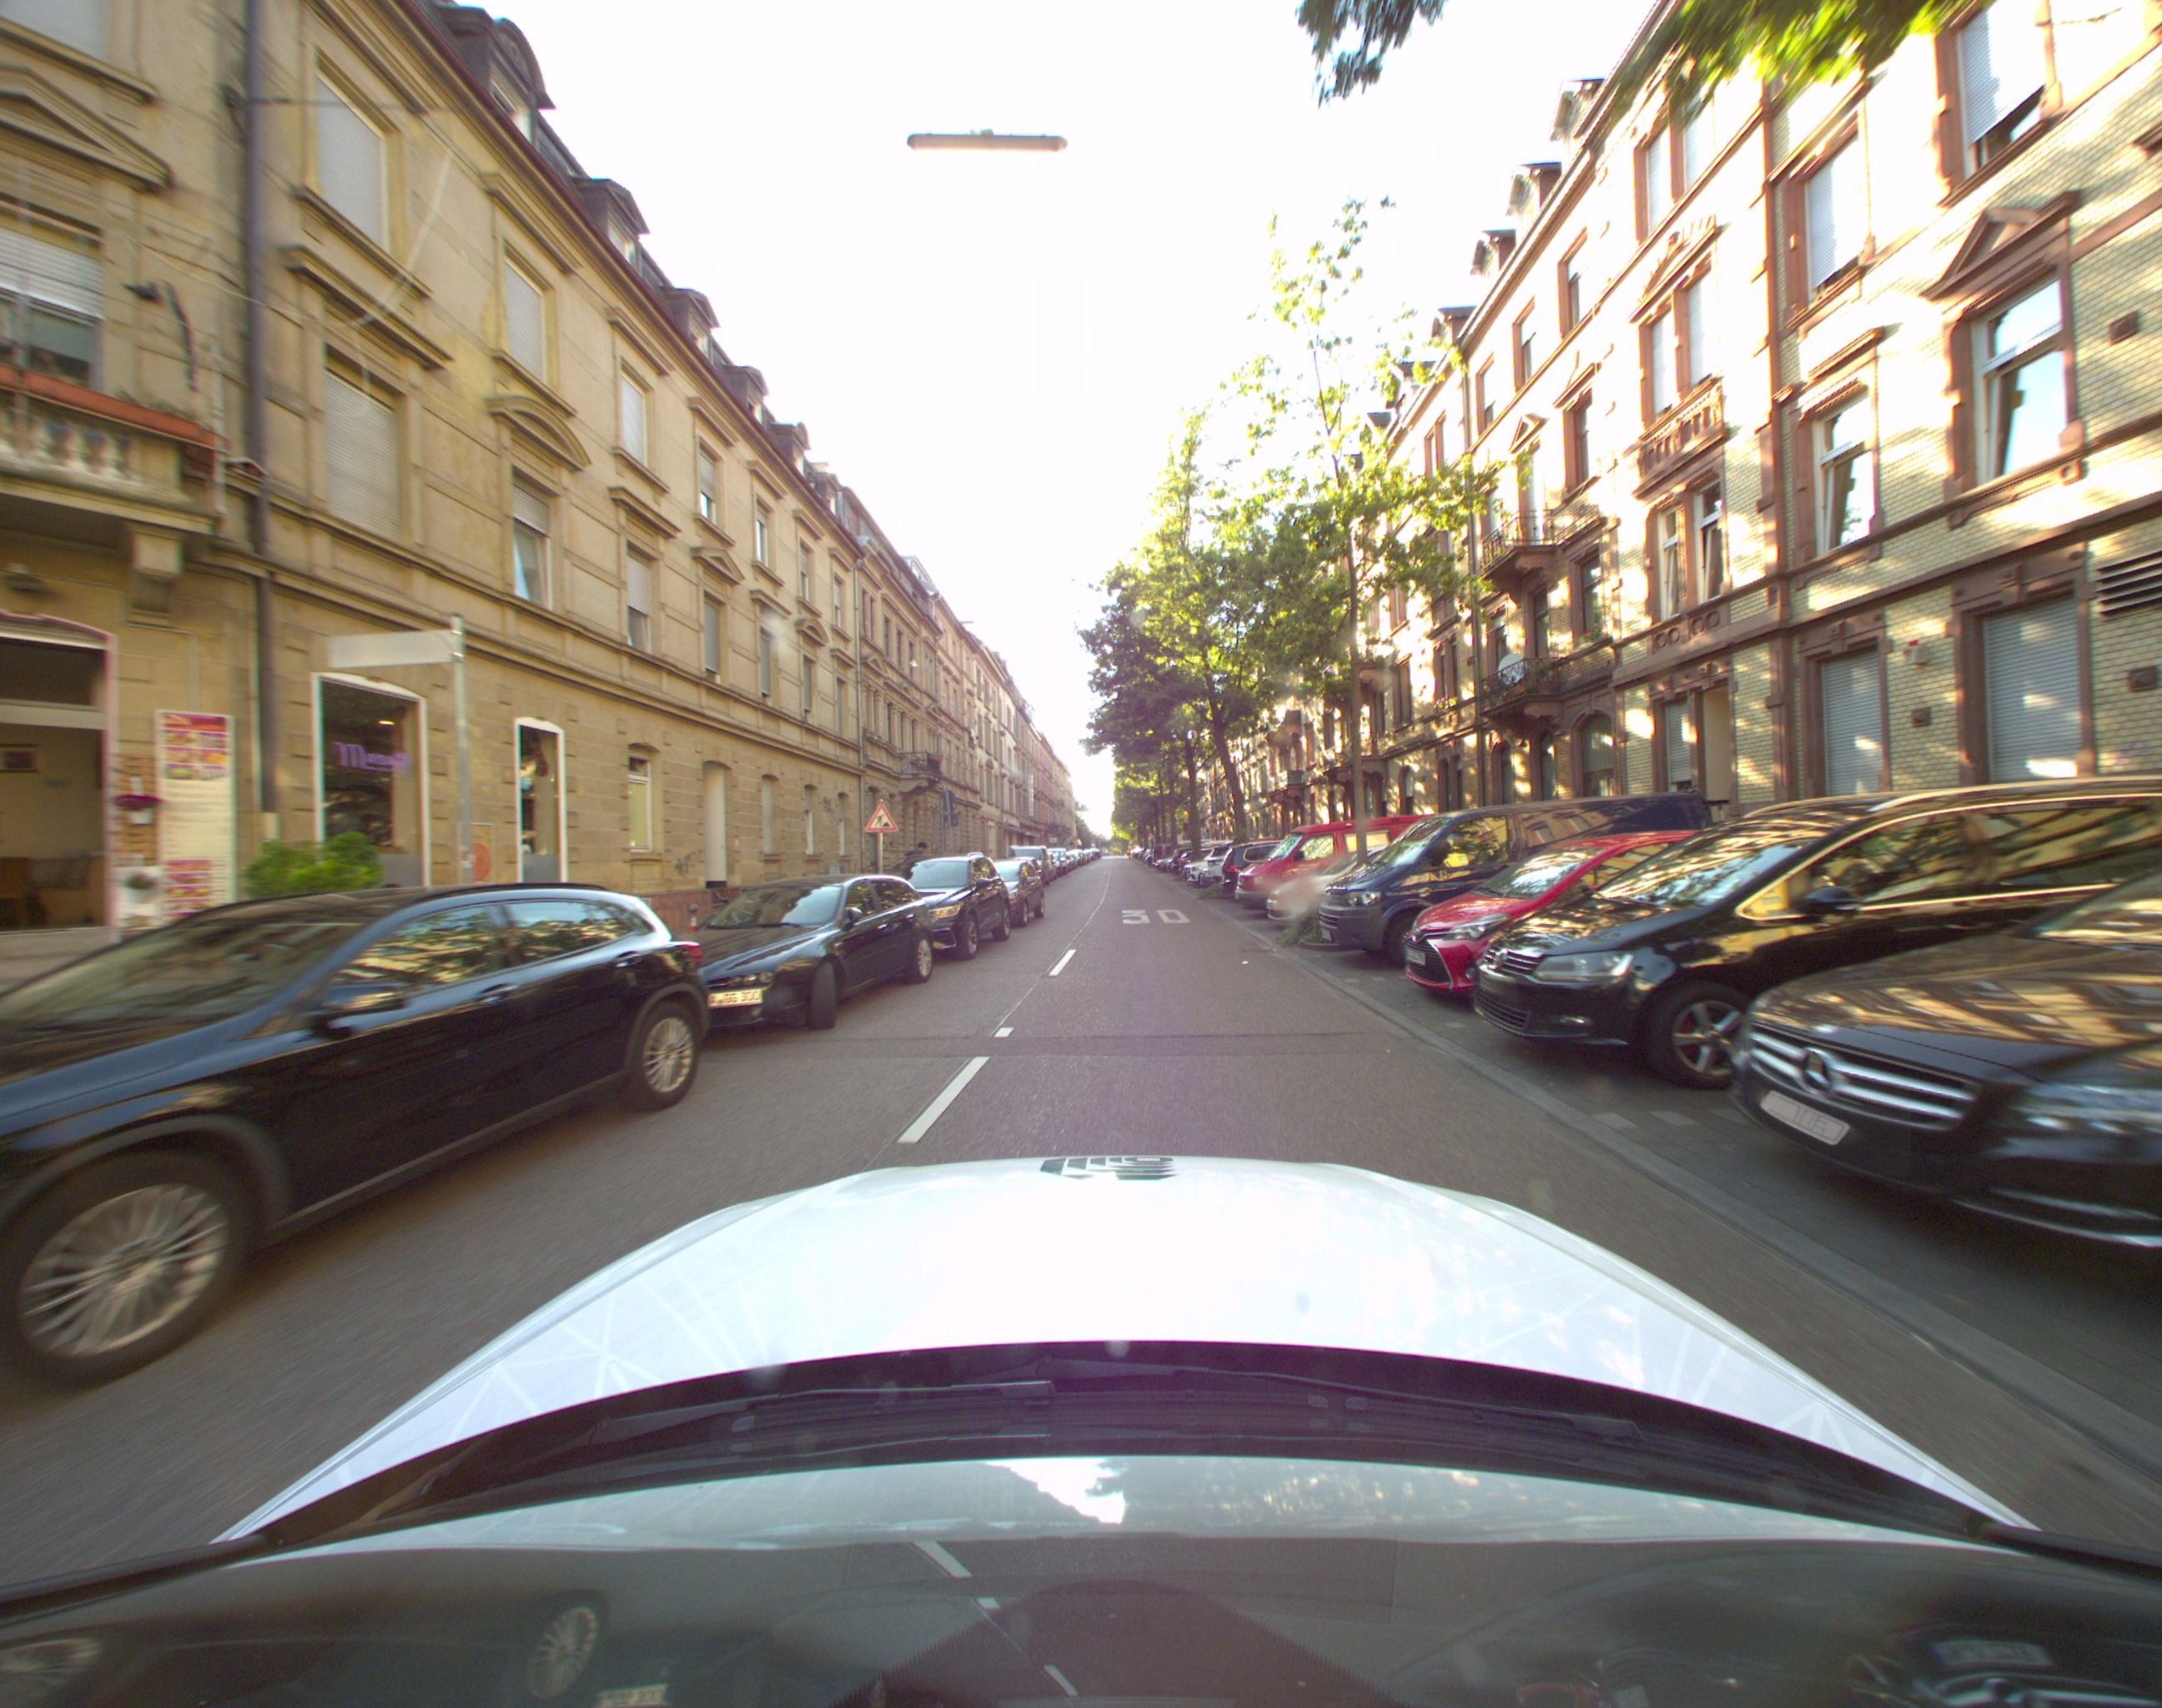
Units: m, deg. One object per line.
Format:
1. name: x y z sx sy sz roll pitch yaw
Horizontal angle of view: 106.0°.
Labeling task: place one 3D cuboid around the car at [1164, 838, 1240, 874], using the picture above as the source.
1. car: 7.137 0.118 48.413 4.206 1.776 1.835 -4 0 1

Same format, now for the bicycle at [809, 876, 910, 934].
1. bicycle: -4.443 1.018 16.391 1.860 1.128 0.529 -1 -1 2

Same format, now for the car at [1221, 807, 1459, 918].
1. car: 5.709 0.188 18.350 4.661 2.033 1.878 -4 -1 -1

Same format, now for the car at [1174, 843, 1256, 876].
1. car: 7.060 0.283 43.176 3.995 1.467 1.734 -4 -1 2

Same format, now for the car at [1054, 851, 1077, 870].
1. car: -1.267 0.508 68.845 1.752 1.473 4.060 -3 0 1

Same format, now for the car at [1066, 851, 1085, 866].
1. car: -0.544 0.471 84.726 1.752 1.473 4.060 -3 0 1

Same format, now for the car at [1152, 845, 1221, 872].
1. car: 6.893 0.288 53.507 4.211 1.403 1.833 -4 0 -3

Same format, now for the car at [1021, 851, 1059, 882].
1. car: -2.288 0.672 46.304 1.746 1.608 4.387 0 0 3

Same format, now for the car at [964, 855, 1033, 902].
1. car: -2.975 0.867 30.240 1.750 1.501 4.065 -3 0 5

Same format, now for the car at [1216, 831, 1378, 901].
1. car: 6.097 0.336 23.373 4.166 1.627 1.840 -4 -1 5

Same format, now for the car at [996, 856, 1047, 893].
1. car: -2.495 0.825 34.797 1.585 1.475 3.704 0 0 4

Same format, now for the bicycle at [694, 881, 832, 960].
1. bicycle: -4.748 0.985 12.187 1.858 1.128 0.529 -1 -1 4

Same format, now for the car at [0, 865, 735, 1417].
1. car: -3.699 0.873 3.958 1.749 1.487 4.148 -3 0 8

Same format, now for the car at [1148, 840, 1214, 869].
1. car: 7.253 0.048 59.140 4.232 1.794 1.824 -4 0 -18

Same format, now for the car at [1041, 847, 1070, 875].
1. car: -1.776 0.438 57.811 1.752 1.842 4.531 -3 0 1

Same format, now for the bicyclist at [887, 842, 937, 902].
1. bicyclist: -5.269 0.551 25.438 0.988 1.789 1.212 -3 1 14

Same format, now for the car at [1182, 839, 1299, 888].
1. car: 6.390 0.352 33.052 4.328 1.556 1.851 -5 1 1

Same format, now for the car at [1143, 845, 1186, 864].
1. car: 8.013 0.054 78.065 3.839 1.479 1.717 -4 0 -1

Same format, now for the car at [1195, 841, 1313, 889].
1. car: 6.443 0.400 30.675 3.995 1.434 1.795 -5 -1 1

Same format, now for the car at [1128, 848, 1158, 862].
1. car: 8.392 0.162 110.095 3.835 1.573 1.719 -4 0 2

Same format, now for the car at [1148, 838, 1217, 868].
1. car: 7.828 -0.093 62.862 5.037 1.925 1.836 -4 0 2

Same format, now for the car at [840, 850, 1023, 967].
1. car: -2.339 0.787 14.077 1.749 1.600 4.559 -3 0 7

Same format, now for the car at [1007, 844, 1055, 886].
1. car: -2.432 0.493 40.552 1.825 1.943 5.263 0 0 2

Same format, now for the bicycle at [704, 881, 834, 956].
1. bicycle: -4.912 1.008 12.869 1.858 1.128 0.529 -1 -1 4

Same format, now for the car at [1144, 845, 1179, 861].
1. car: 9.664 -0.135 97.733 3.845 1.573 1.714 -4 0 -6

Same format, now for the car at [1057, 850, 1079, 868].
1. car: -1.150 0.443 73.716 1.752 1.473 4.060 -3 0 1

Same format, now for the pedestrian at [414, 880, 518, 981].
1. pedestrian: -7.952 0.974 10.558 0.723 1.214 0.757 -2 0 0

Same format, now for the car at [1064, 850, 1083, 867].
1. car: -0.723 0.428 79.962 1.752 1.473 4.060 -3 0 1

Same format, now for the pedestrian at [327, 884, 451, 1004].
1. pedestrian: -7.890 1.000 9.316 0.723 1.259 0.757 -2 0 0

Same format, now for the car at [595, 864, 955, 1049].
1. car: -2.977 0.909 9.183 1.748 1.451 4.560 -3 0 8

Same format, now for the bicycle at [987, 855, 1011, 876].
1. bicycle: -5.577 0.732 55.641 1.037 1.318 4.002 -1 0 2

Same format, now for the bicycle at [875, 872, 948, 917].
1. bicycle: -5.238 1.219 25.444 0.988 1.158 2.935 -3 1 14

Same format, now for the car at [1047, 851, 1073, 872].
1. car: -1.563 0.553 62.747 1.752 1.473 4.060 -3 0 1

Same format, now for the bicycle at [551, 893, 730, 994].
1. bicycle: -5.169 1.041 9.598 1.858 1.128 0.529 -1 -1 4

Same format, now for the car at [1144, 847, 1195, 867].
1. car: 7.104 0.257 65.748 3.839 1.293 1.717 -4 0 -1

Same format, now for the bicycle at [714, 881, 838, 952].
1. bicycle: -5.050 1.033 13.504 1.858 1.128 0.529 -1 -1 4

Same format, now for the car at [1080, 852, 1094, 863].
1. car: 0.889 0.522 117.368 1.986 1.486 4.001 -2 -2 2

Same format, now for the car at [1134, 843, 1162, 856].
1. car: 9.885 -0.643 120.139 3.836 1.573 1.718 -4 0 1

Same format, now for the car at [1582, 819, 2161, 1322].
1. car: 4.984 0.555 3.202 4.763 1.413 1.854 -4 -1 5

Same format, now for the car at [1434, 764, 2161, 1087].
1. car: 5.147 0.407 5.522 4.661 1.679 1.855 -4 -1 7

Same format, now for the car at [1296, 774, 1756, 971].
1. car: 5.655 0.233 10.889 5.003 2.215 1.993 -2 0 1

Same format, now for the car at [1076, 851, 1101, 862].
1. car: 1.244 0.372 127.527 1.974 1.486 4.025 -4 -2 35

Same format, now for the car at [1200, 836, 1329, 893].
1. car: 6.273 0.343 28.226 3.997 1.627 1.805 -4 -1 0

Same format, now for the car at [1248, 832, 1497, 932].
1. car: 5.424 0.512 15.566 4.039 1.510 1.880 -4 -1 2

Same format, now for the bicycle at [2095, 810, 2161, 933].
1. bicycle: 10.749 0.157 7.104 0.667 1.171 2.596 -4 -1 5

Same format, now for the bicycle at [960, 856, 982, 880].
1. bicycle: -6.293 0.780 46.632 0.737 1.255 2.828 -1 0 2

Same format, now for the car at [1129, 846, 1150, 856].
1. car: 10.811 -0.484 150.451 3.836 1.573 1.718 -4 0 1

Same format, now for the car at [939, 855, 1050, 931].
1. car: -1.927 0.844 19.349 1.750 1.501 4.066 -3 0 6

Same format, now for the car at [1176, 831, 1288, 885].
1. car: 6.551 0.158 35.613 4.430 1.924 1.850 -5 1 -1

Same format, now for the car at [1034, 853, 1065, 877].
1. car: -2.031 0.653 52.797 1.752 1.467 4.001 0 0 1

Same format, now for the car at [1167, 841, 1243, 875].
1. car: 6.937 0.221 45.767 3.995 1.607 1.734 -4 -1 2

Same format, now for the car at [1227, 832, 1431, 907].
1. car: 6.225 0.391 20.911 4.654 1.514 1.881 -4 -1 4

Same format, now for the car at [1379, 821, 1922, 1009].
1. car: 5.309 0.550 8.046 4.089 1.534 1.726 -2 0 3

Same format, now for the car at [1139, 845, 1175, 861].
1. car: 8.877 -0.129 95.350 3.845 1.573 1.714 -4 0 -6

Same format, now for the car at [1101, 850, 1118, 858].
1. car: 6.897 -0.009 196.449 3.962 1.859 1.756 -1 0 10
